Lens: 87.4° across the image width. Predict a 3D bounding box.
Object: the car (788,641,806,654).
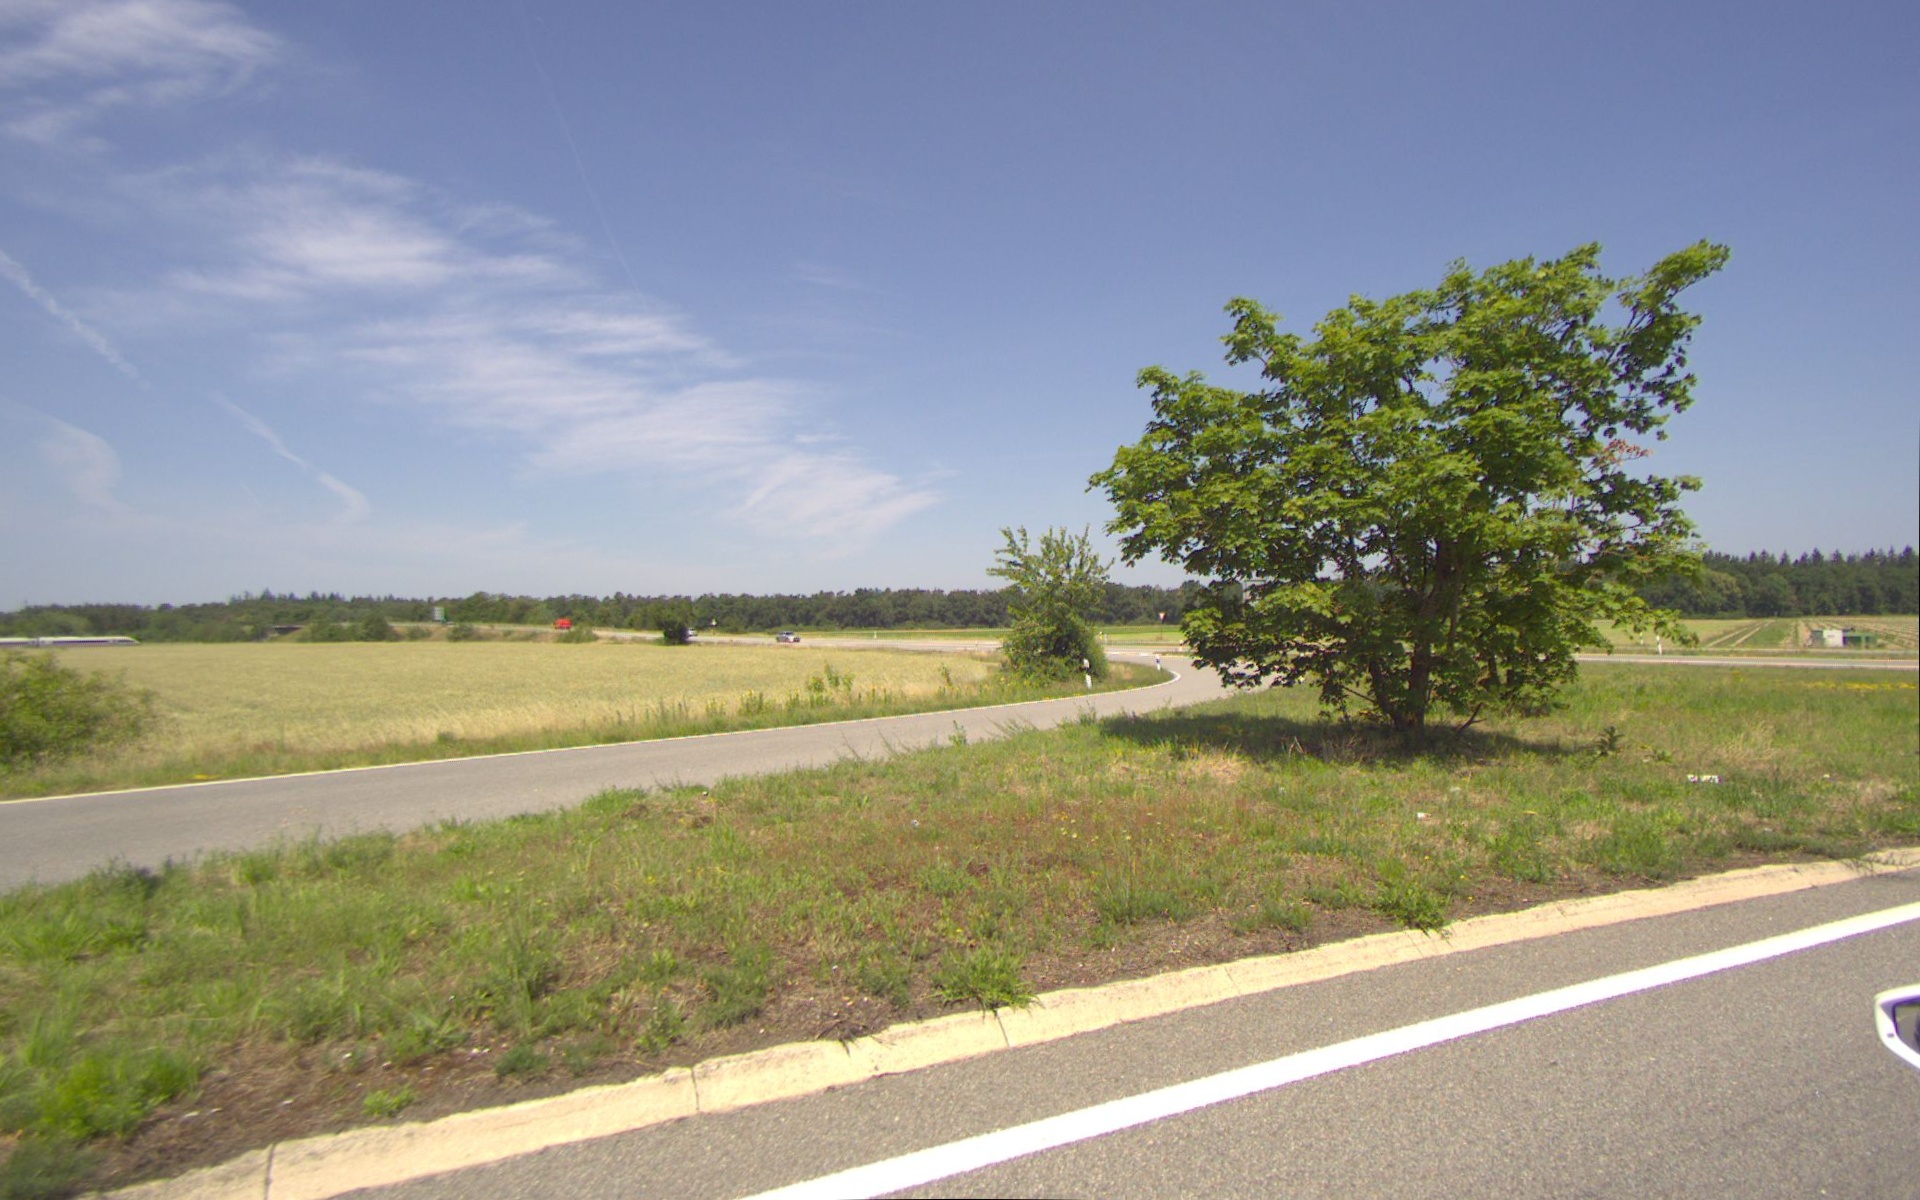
[{"bbox_3d":[-22.173,6.430,136.544,1.703,1.728,3.407,0,-1,-23],"label":"car"}]
